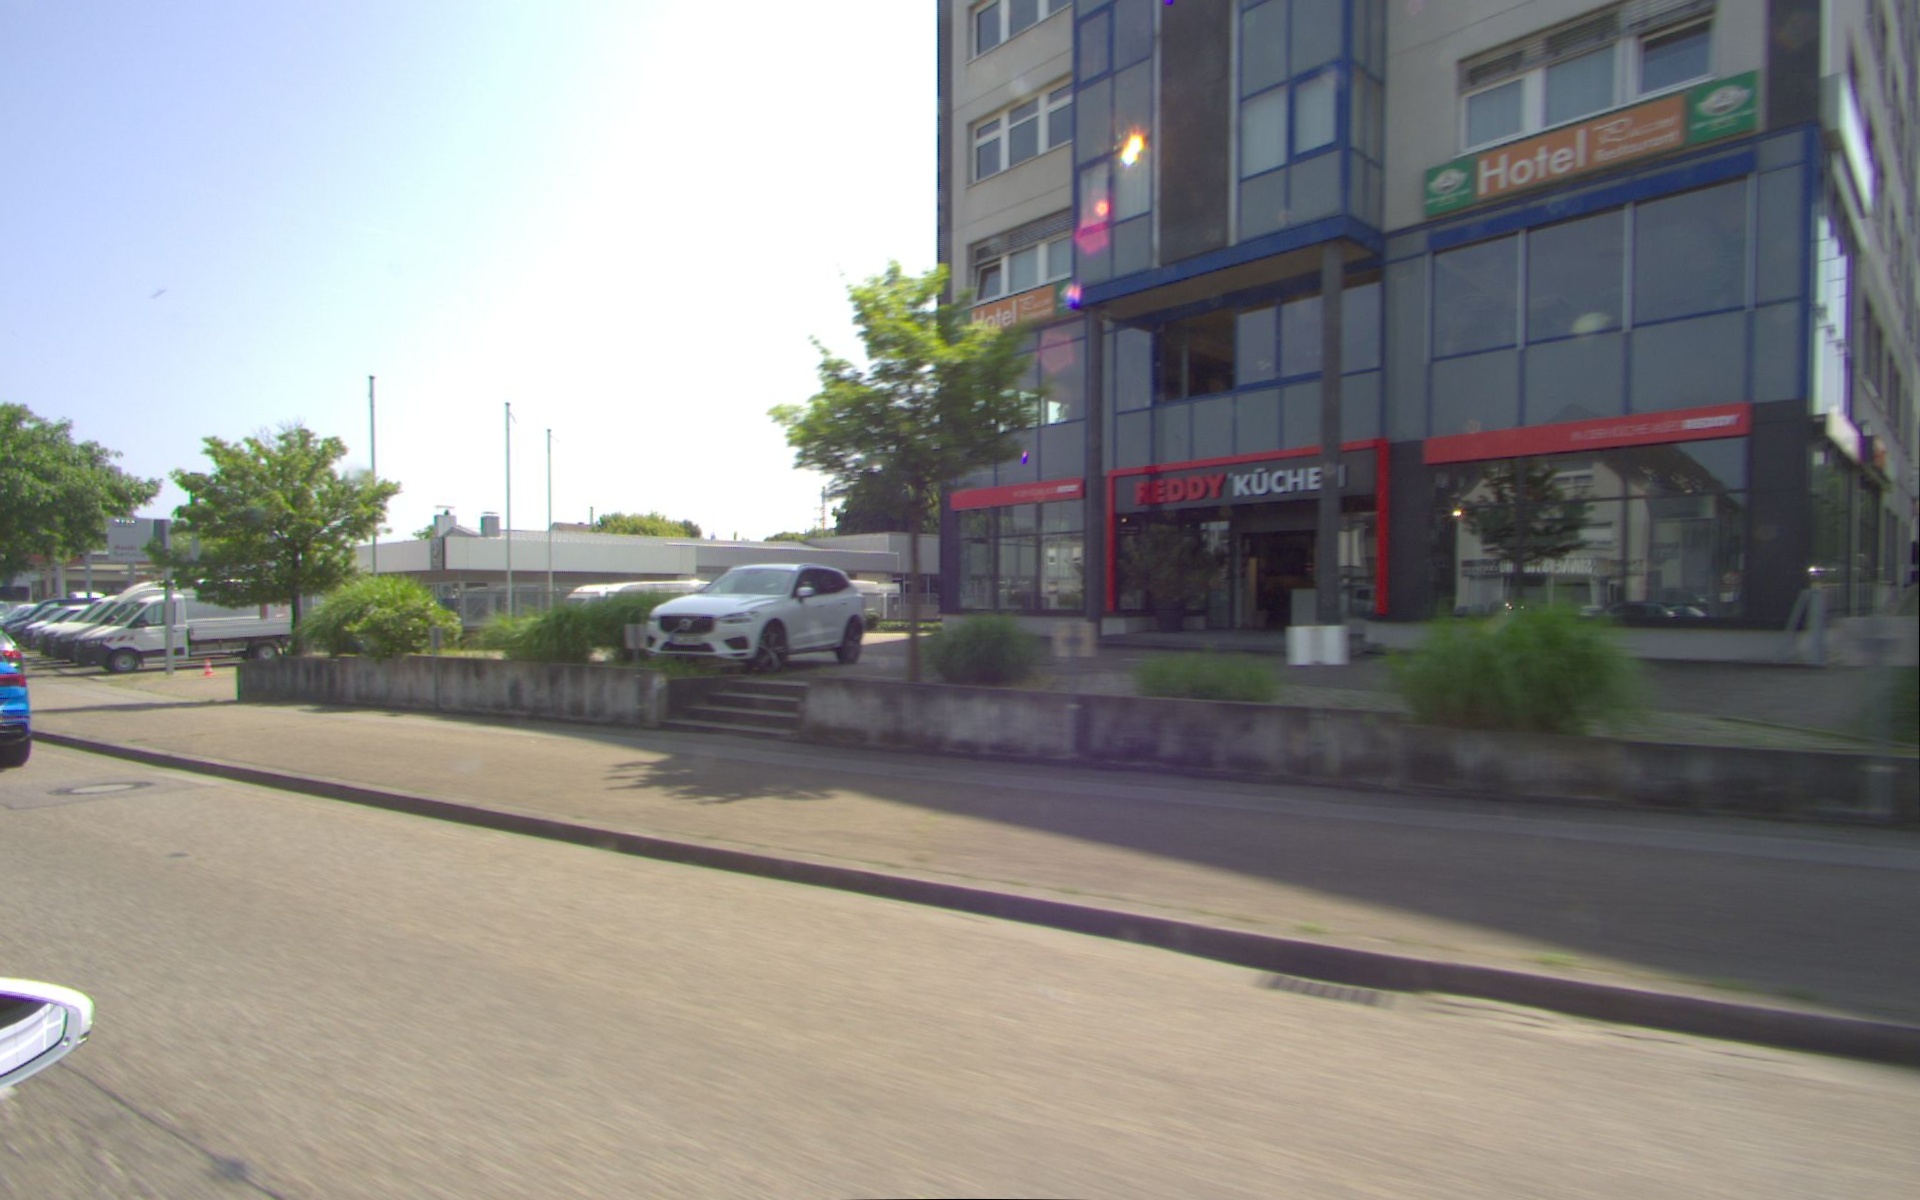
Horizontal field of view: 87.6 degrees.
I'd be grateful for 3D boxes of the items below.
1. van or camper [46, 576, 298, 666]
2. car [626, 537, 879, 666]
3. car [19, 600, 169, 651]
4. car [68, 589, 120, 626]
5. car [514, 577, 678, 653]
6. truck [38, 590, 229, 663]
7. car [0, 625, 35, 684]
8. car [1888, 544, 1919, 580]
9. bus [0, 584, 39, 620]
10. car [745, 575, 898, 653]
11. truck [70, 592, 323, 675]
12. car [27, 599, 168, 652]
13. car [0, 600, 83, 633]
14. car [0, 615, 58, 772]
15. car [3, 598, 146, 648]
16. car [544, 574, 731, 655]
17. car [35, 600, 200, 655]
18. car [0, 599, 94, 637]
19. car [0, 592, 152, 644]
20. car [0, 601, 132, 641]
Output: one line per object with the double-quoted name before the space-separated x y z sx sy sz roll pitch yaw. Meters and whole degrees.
"van or camper" -27.850 0.663 35.688 2.249 2.937 6.762 1 1 41
"car" -3.083 0.124 16.055 1.964 1.735 4.736 -1 -2 17
"car" -40.457 1.133 46.897 2.017 2.125 5.037 0 2 41
"car" -66.455 0.538 76.795 6.939 2.712 2.243 1 1 43
"car" -13.068 0.601 36.216 2.016 2.568 5.253 -2 -3 43
"truck" -30.433 0.890 37.009 2.088 2.469 5.216 1 1 43
"car" -25.139 1.344 25.533 4.270 1.424 1.790 -1 -2 41
"car" 48.254 -1.946 49.270 1.844 1.683 4.001 -1 -2 9
"bus" -87.227 0.117 92.598 2.786 3.120 12.160 1 1 -44
"car" -5.335 0.618 39.457 1.979 2.845 6.083 -2 -3 43
"truck" -24.630 0.954 32.545 2.342 2.368 6.209 1 2 43
"car" -38.387 1.096 44.660 2.174 2.041 4.482 -1 2 43
"car" -54.366 0.955 58.775 1.860 1.804 4.129 -2 0 41
"car" -12.004 0.979 11.150 4.334 1.618 1.908 0 0 34
"car" -42.543 1.046 48.192 2.104 2.143 4.874 1 2 41
"car" -10.967 0.571 34.405 2.099 2.560 5.851 -2 -3 44
"car" -34.293 1.066 40.864 2.118 1.997 4.886 0 1 42
"car" -54.277 1.023 58.997 1.937 2.041 4.617 1 2 40
"car" -45.863 0.970 52.080 2.182 2.555 5.809 -2 -2 44
"car" -48.271 1.142 53.618 2.236 2.039 5.860 0 -2 44
